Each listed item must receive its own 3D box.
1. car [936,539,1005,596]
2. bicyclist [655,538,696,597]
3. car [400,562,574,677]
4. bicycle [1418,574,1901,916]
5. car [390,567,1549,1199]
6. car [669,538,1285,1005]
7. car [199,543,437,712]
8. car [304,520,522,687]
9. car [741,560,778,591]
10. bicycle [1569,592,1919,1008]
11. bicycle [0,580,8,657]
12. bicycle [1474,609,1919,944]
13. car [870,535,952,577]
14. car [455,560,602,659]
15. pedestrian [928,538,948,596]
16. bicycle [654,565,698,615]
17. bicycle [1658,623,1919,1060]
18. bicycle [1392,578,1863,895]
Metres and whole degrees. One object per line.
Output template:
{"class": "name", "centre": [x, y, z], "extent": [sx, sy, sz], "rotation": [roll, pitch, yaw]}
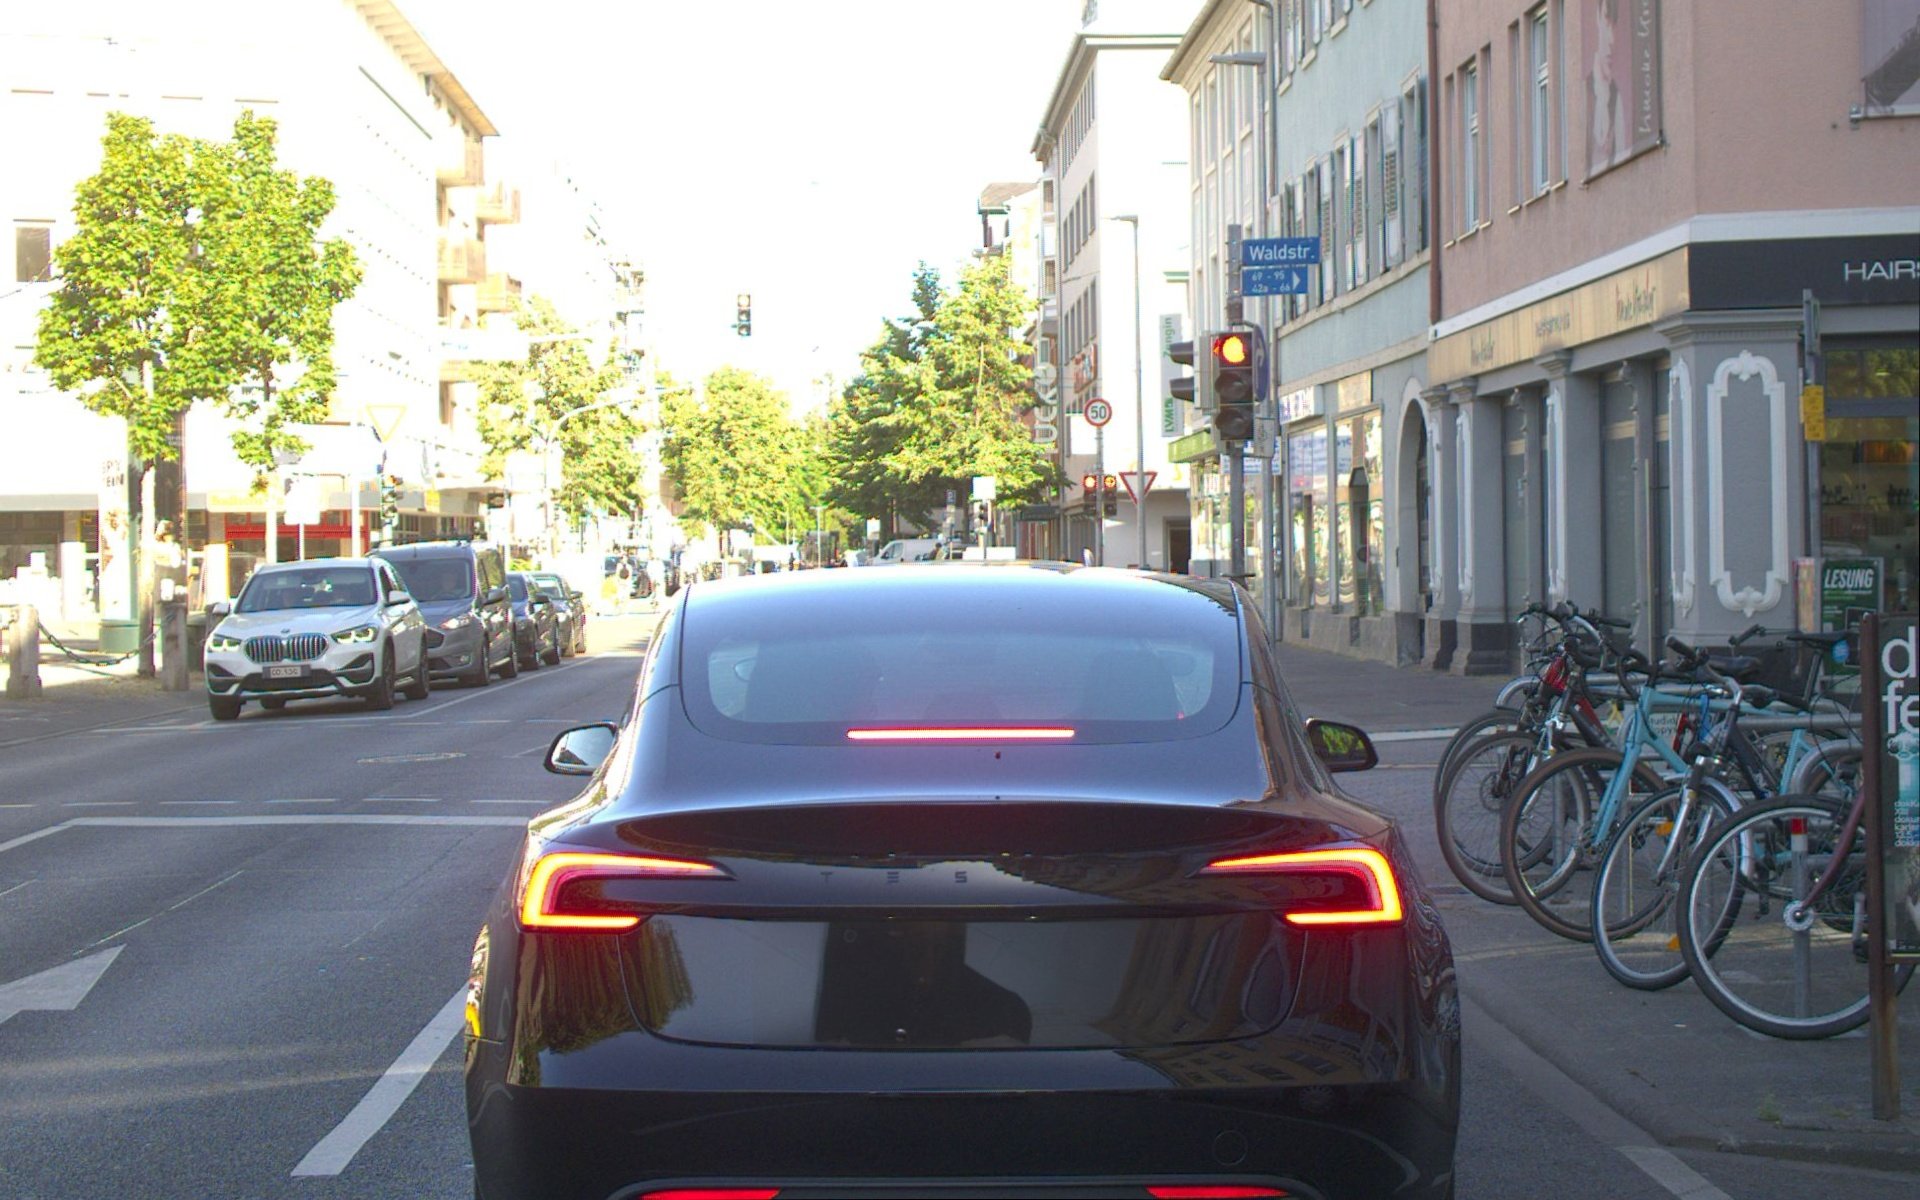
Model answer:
{"class": "car", "centre": [0.288, -0.956, 100.697], "extent": [1.993, 1.623, 4.000], "rotation": [0, 1, 0]}
{"class": "bicyclist", "centre": [-7.903, -0.905, 95.609], "extent": [1.126, 1.623, 0.965], "rotation": [0, 1, -3]}
{"class": "car", "centre": [-6.738, 0.242, 49.427], "extent": [1.993, 1.405, 4.675], "rotation": [-4, 1, -3]}
{"class": "bicycle", "centre": [2.746, 0.558, 13.643], "extent": [1.746, 1.262, 0.781], "rotation": [-2, 1, 3]}
{"class": "car", "centre": [-0.004, 0.660, 7.495], "extent": [1.848, 1.450, 4.000], "rotation": [0, 1, -1]}
{"class": "car", "centre": [-0.012, 0.519, 13.203], "extent": [1.993, 1.507, 4.176], "rotation": [0, 1, -2]}
{"class": "car", "centre": [-6.679, 0.232, 36.154], "extent": [1.807, 1.550, 4.310], "rotation": [-4, 1, -3]}
{"class": "car", "centre": [-6.707, -0.002, 42.599], "extent": [1.834, 1.838, 4.674], "rotation": [-4, 1, 0]}
{"class": "car", "centre": [-10.929, -1.358, 187.070], "extent": [1.993, 1.631, 4.001], "rotation": [0, 1, -3]}
{"class": "bicycle", "centre": [2.892, 0.620, 11.113], "extent": [1.722, 1.263, 0.790], "rotation": [-2, 1, 5]}
{"class": "bicycle", "centre": [-15.709, 0.283, 52.164], "extent": [2.323, 1.152, 0.843], "rotation": [0, 1, -5]}
{"class": "bicycle", "centre": [2.812, 0.623, 12.465], "extent": [1.798, 1.120, 0.781], "rotation": [-2, 1, 5]}
{"class": "car", "centre": [-2.408, -2.139, 167.548], "extent": [3.986, 2.007, 2.000], "rotation": [0, 1, -2]}
{"class": "car", "centre": [-7.103, 0.124, 57.018], "extent": [1.993, 1.431, 4.675], "rotation": [-4, 1, -3]}
{"class": "pedestrian", "centre": [-0.756, -1.151, 118.981], "extent": [0.640, 2.007, 0.691], "rotation": [0, 1, -6]}
{"class": "bicycle", "centre": [-7.885, -0.290, 95.525], "extent": [1.111, 1.340, 4.001], "rotation": [0, 1, -3]}
{"class": "bicycle", "centre": [3.038, 0.670, 9.981], "extent": [1.886, 1.189, 0.691], "rotation": [-2, 1, 5]}
{"class": "bicycle", "centre": [2.816, 0.570, 14.674], "extent": [1.862, 1.253, 0.832], "rotation": [-2, 1, 5]}
